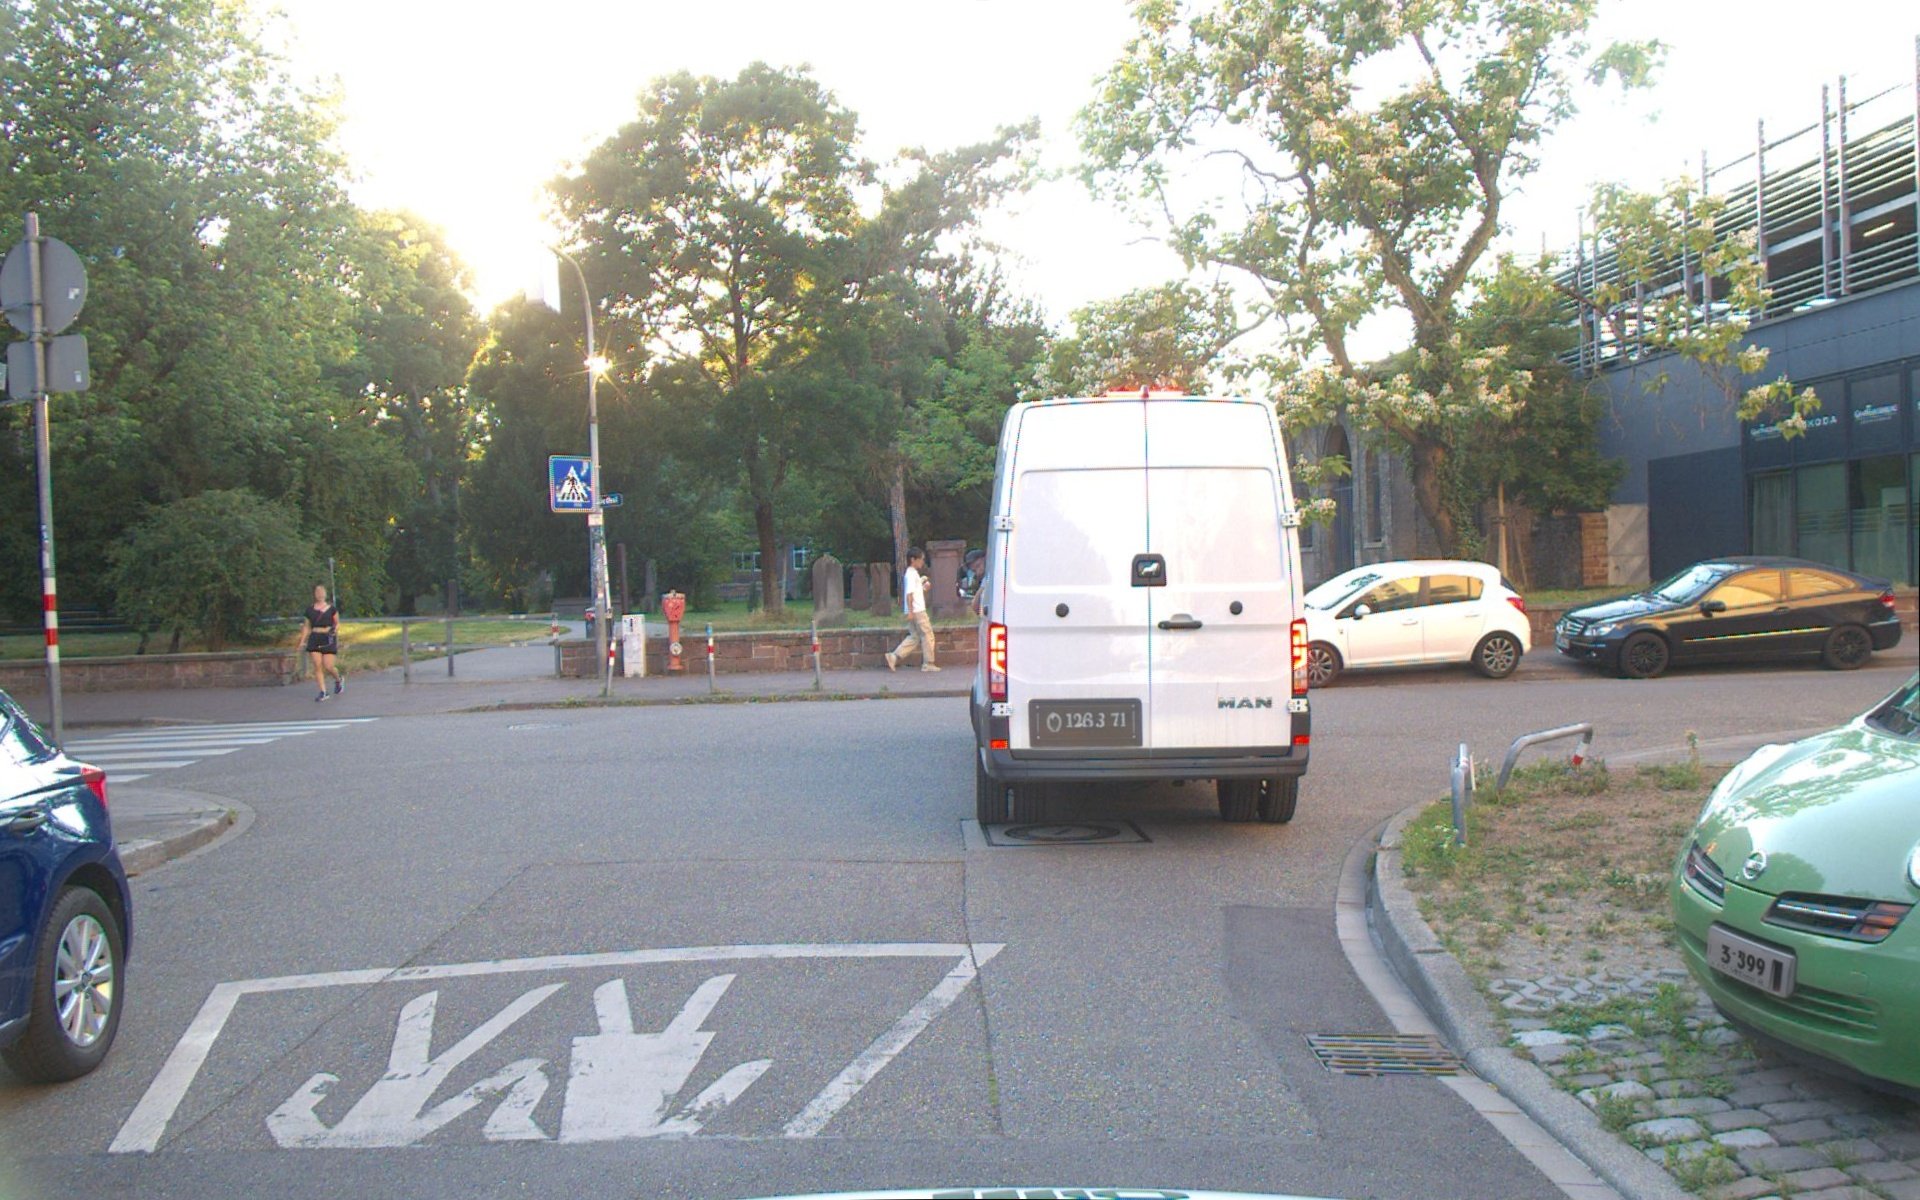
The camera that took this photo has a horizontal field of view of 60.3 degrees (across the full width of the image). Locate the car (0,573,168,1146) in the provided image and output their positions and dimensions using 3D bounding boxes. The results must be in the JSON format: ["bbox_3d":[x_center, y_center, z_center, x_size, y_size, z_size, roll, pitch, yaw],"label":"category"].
[{"bbox_3d":[-3.490,0.776,3.808,1.700,1.594,3.787,-3,1,-5],"label":"car"}]

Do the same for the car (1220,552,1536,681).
[{"bbox_3d":[5.666,0.200,22.710,3.779,1.601,1.957,-1,1,-4],"label":"car"}]

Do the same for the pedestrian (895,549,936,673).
[{"bbox_3d":[-0.667,0.158,24.938,0.581,1.840,0.620,-1,0,-1],"label":"pedestrian"}]

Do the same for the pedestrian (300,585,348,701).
[{"bbox_3d":[-9.431,0.621,24.509,0.638,1.677,0.669,0,1,-24],"label":"pedestrian"}]

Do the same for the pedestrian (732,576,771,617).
[{"bbox_3d":[-7.778,-0.119,61.698,1.302,1.469,1.046,-2,1,-3],"label":"pedestrian"}]

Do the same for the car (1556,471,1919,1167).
[{"bbox_3d":[4.339,0.427,5.017,4.318,1.660,1.844,-3,-1,-5],"label":"car"}]

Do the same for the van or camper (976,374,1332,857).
[{"bbox_3d":[1.164,0.052,12.334,1.952,2.664,6.404,0,1,2],"label":"van or camper"}]

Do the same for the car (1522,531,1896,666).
[{"bbox_3d":[10.070,-0.028,22.484,4.204,1.529,1.824,-3,0,2],"label":"car"}]
